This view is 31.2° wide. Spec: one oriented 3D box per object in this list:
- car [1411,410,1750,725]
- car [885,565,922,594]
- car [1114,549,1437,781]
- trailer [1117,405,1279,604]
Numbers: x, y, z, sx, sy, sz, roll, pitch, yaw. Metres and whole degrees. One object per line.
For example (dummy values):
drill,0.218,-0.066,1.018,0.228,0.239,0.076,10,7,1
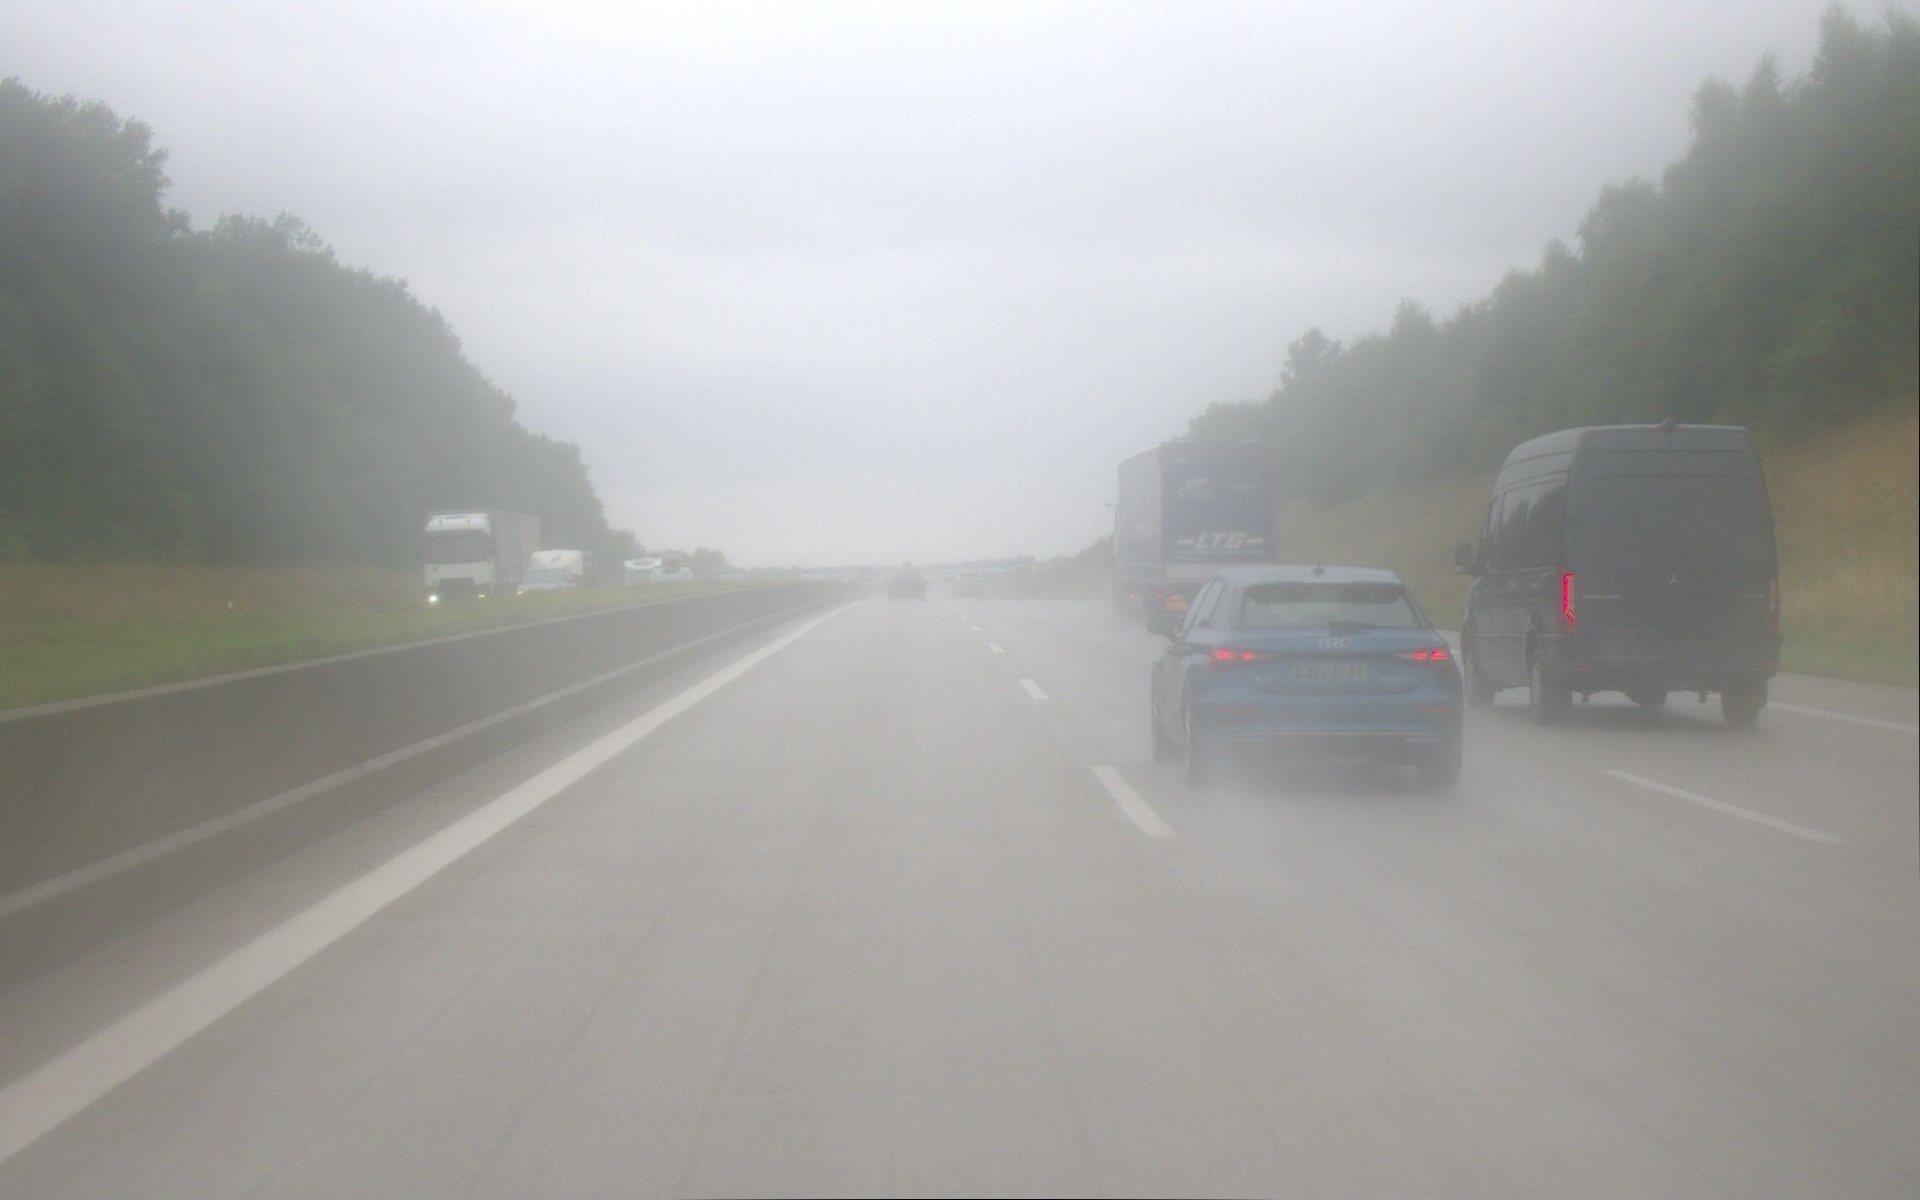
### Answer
car,5.706,-0.321,32.523,1.941,2.650,6.586,1,1,0
car,-2.655,-0.950,161.308,1.729,1.326,4.430,0,1,-1
car,2.116,0.442,24.259,1.729,1.454,4.672,-1,-1,-1
trailer,5.585,-2.106,83.221,2.706,4.365,15.205,1,0,0
